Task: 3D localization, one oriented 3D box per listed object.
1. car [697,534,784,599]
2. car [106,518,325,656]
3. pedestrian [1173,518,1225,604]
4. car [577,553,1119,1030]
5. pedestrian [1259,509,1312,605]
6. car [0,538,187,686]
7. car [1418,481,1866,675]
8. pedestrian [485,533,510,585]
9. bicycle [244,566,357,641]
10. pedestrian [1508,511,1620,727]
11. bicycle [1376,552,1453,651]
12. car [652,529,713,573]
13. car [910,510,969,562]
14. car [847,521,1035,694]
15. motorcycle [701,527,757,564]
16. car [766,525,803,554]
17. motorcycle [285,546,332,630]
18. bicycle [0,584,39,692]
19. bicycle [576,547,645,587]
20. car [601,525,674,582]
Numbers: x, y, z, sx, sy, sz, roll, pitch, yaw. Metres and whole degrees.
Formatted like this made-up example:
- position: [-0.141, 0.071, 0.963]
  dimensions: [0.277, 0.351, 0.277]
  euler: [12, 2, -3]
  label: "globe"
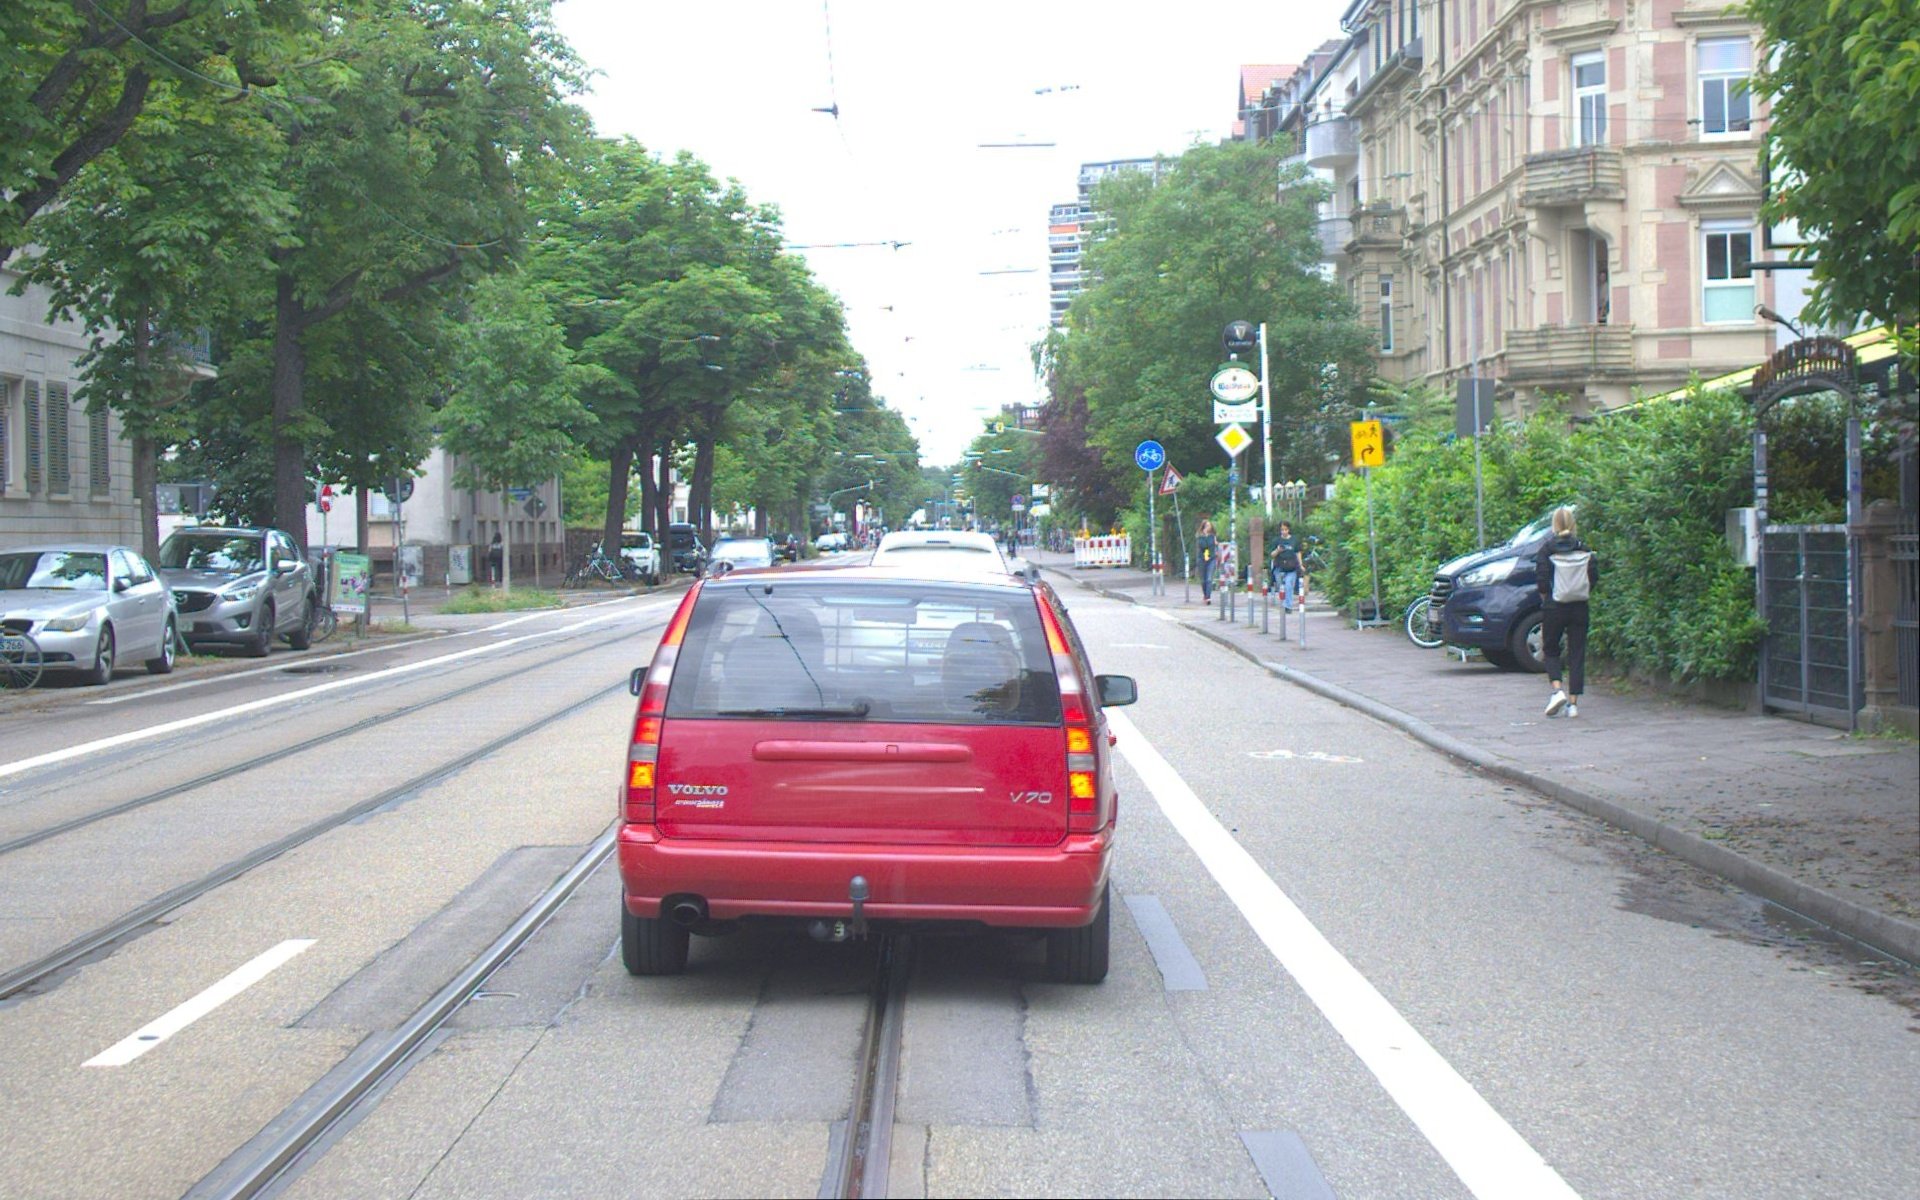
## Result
- position: [-4.878, -0.766, 76.724]
  dimensions: [1.729, 1.404, 3.656]
  euler: [-1, 1, 0]
  label: "car"
- position: [-9.684, -0.214, 45.026]
  dimensions: [1.837, 1.655, 4.293]
  euler: [2, 1, 1]
  label: "car"
- position: [4.669, -0.769, 67.122]
  dimensions: [0.873, 1.650, 0.908]
  euler: [-1, 1, 12]
  label: "pedestrian"
- position: [-0.274, 0.573, 12.623]
  dimensions: [1.689, 1.436, 3.743]
  euler: [1, 1, 2]
  label: "car"
- position: [5.695, -0.755, 60.147]
  dimensions: [0.793, 1.630, 0.836]
  euler: [-2, 1, 0]
  label: "pedestrian"
- position: [-9.690, 0.078, 36.913]
  dimensions: [1.811, 1.461, 4.614]
  euler: [0, 1, -1]
  label: "car"
- position: [7.047, -0.241, 35.860]
  dimensions: [4.281, 1.803, 1.823]
  euler: [-2, 1, 2]
  label: "car"
- position: [-13.033, -1.159, 96.913]
  dimensions: [0.564, 1.462, 0.723]
  euler: [-1, 1, 0]
  label: "pedestrian"
- position: [-9.506, 0.045, 49.595]
  dimensions: [1.376, 1.001, 0.930]
  euler: [2, 1, 4]
  label: "bicycle"
- position: [4.844, 0.139, 27.614]
  dimensions: [0.623, 1.665, 0.960]
  euler: [-3, 1, -1]
  label: "pedestrian"
- position: [5.558, 0.003, 42.129]
  dimensions: [0.632, 1.124, 1.812]
  euler: [-3, 2, -1]
  label: "bicycle"
- position: [-9.869, -1.760, 122.629]
  dimensions: [1.777, 1.505, 4.238]
  euler: [0, 1, 1]
  label: "car"
- position: [-0.668, -2.032, 108.579]
  dimensions: [1.741, 1.600, 4.001]
  euler: [0, 1, -2]
  label: "car"
- position: [-0.139, 0.030, 34.245]
  dimensions: [1.719, 1.619, 3.941]
  euler: [0, 1, 2]
  label: "car"
- position: [-9.672, -2.265, 144.179]
  dimensions: [2.269, 1.506, 0.925]
  euler: [0, 0, 35]
  label: "motorcycle"
- position: [-9.661, -3.329, 189.632]
  dimensions: [1.851, 1.557, 3.943]
  euler: [0, 1, 0]
  label: "car"
- position: [-10.001, -0.196, 52.800]
  dimensions: [0.539, 1.253, 2.143]
  euler: [-1, 1, -7]
  label: "motorcycle"
- position: [-9.978, 0.356, 33.437]
  dimensions: [1.894, 1.023, 0.564]
  euler: [1, 1, -4]
  label: "bicycle"
- position: [-10.148, -0.965, 99.757]
  dimensions: [1.922, 1.117, 0.624]
  euler: [1, 1, 0]
  label: "bicycle"
- position: [-9.686, -1.415, 103.502]
  dimensions: [1.897, 1.650, 4.226]
  euler: [0, 1, -1]
  label: "car"
